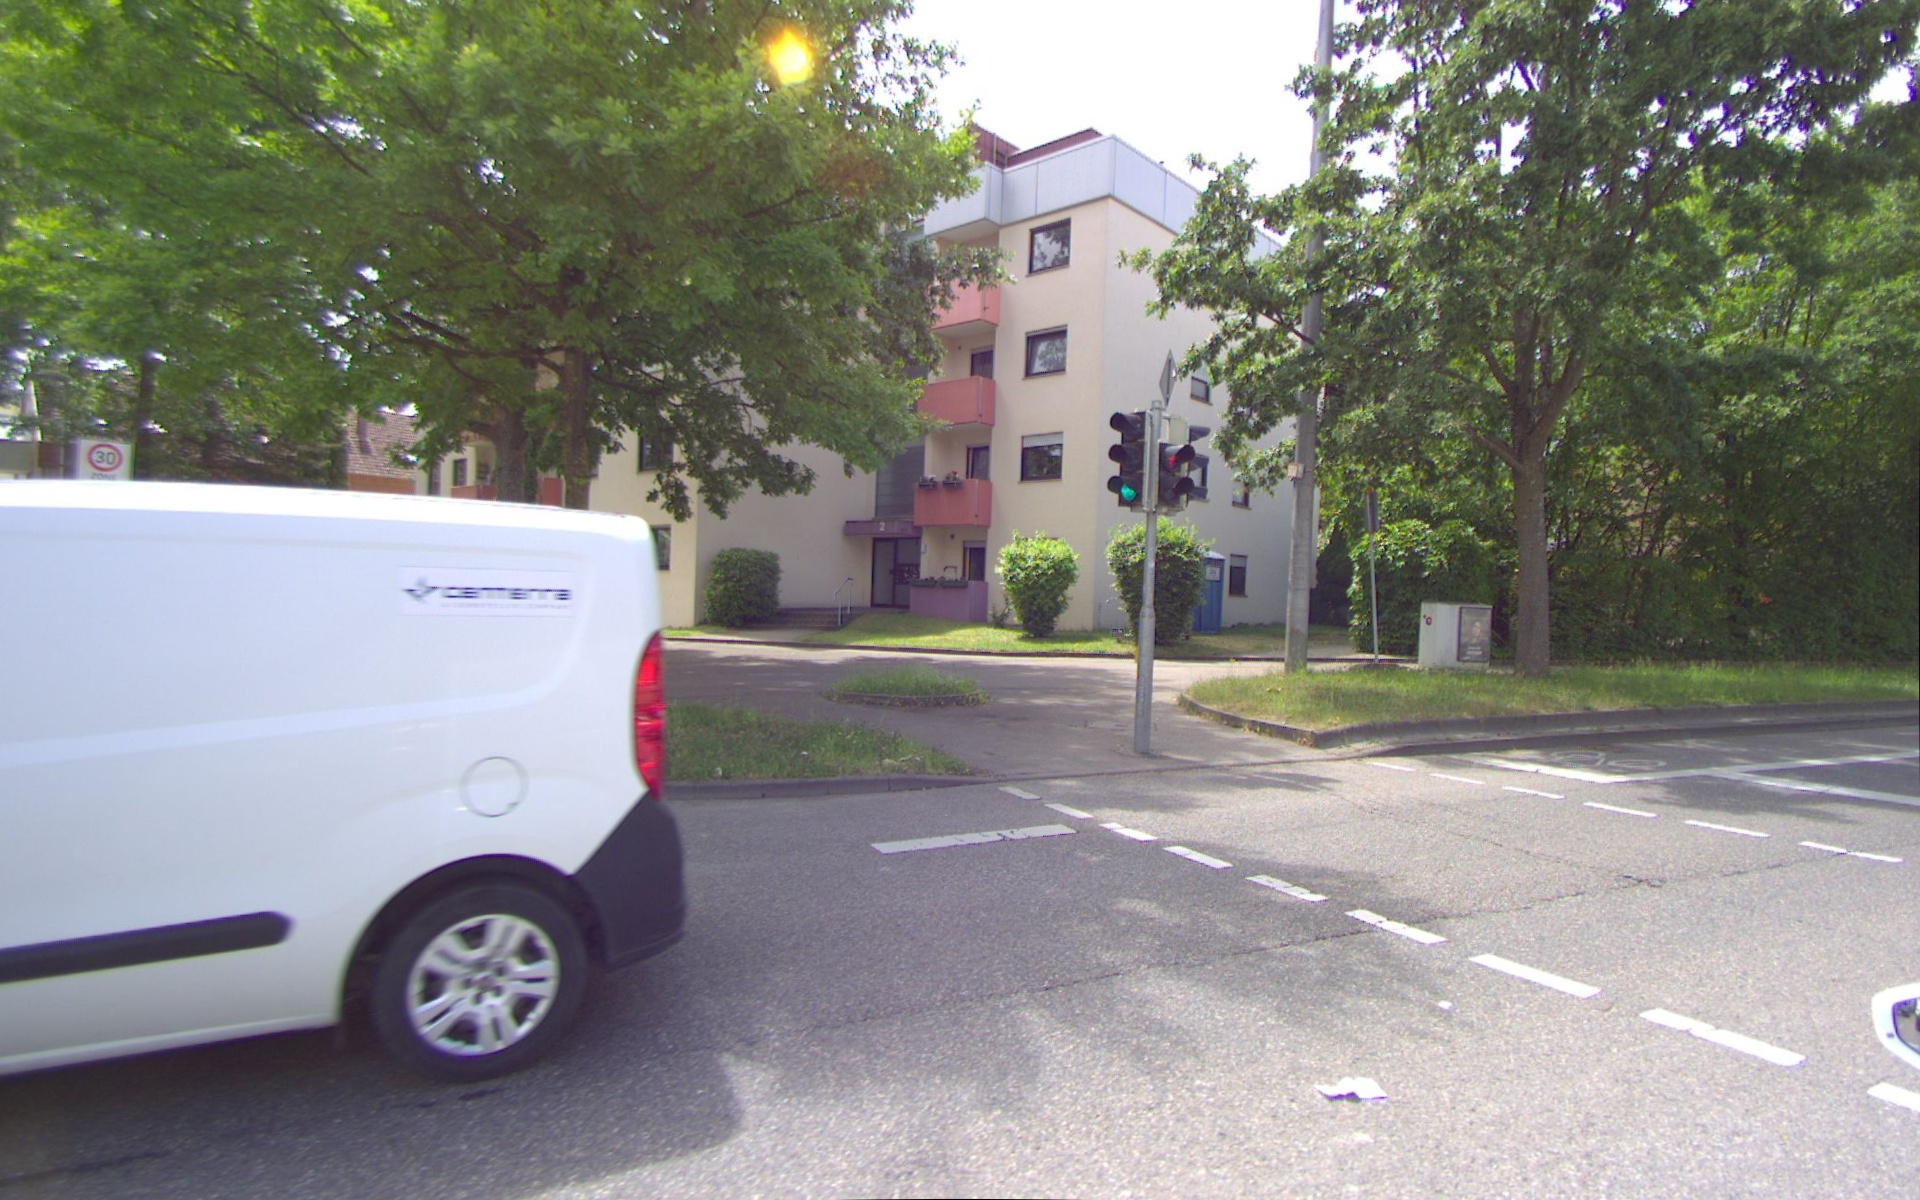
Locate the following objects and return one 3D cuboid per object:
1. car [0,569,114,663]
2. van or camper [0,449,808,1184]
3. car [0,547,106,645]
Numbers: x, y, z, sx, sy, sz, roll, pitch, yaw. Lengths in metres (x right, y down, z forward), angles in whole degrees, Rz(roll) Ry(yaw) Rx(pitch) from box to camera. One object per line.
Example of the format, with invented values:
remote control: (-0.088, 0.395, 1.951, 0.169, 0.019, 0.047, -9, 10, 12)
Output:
car: (-16.296, 0.219, 17.699, 3.944, 1.472, 1.686, 2, 1, 43)
van or camper: (-2.863, 0.526, 3.230, 4.326, 1.800, 1.853, 1, 0, -29)
car: (-19.350, -0.047, 20.942, 3.942, 1.869, 1.836, -1, -1, 42)
